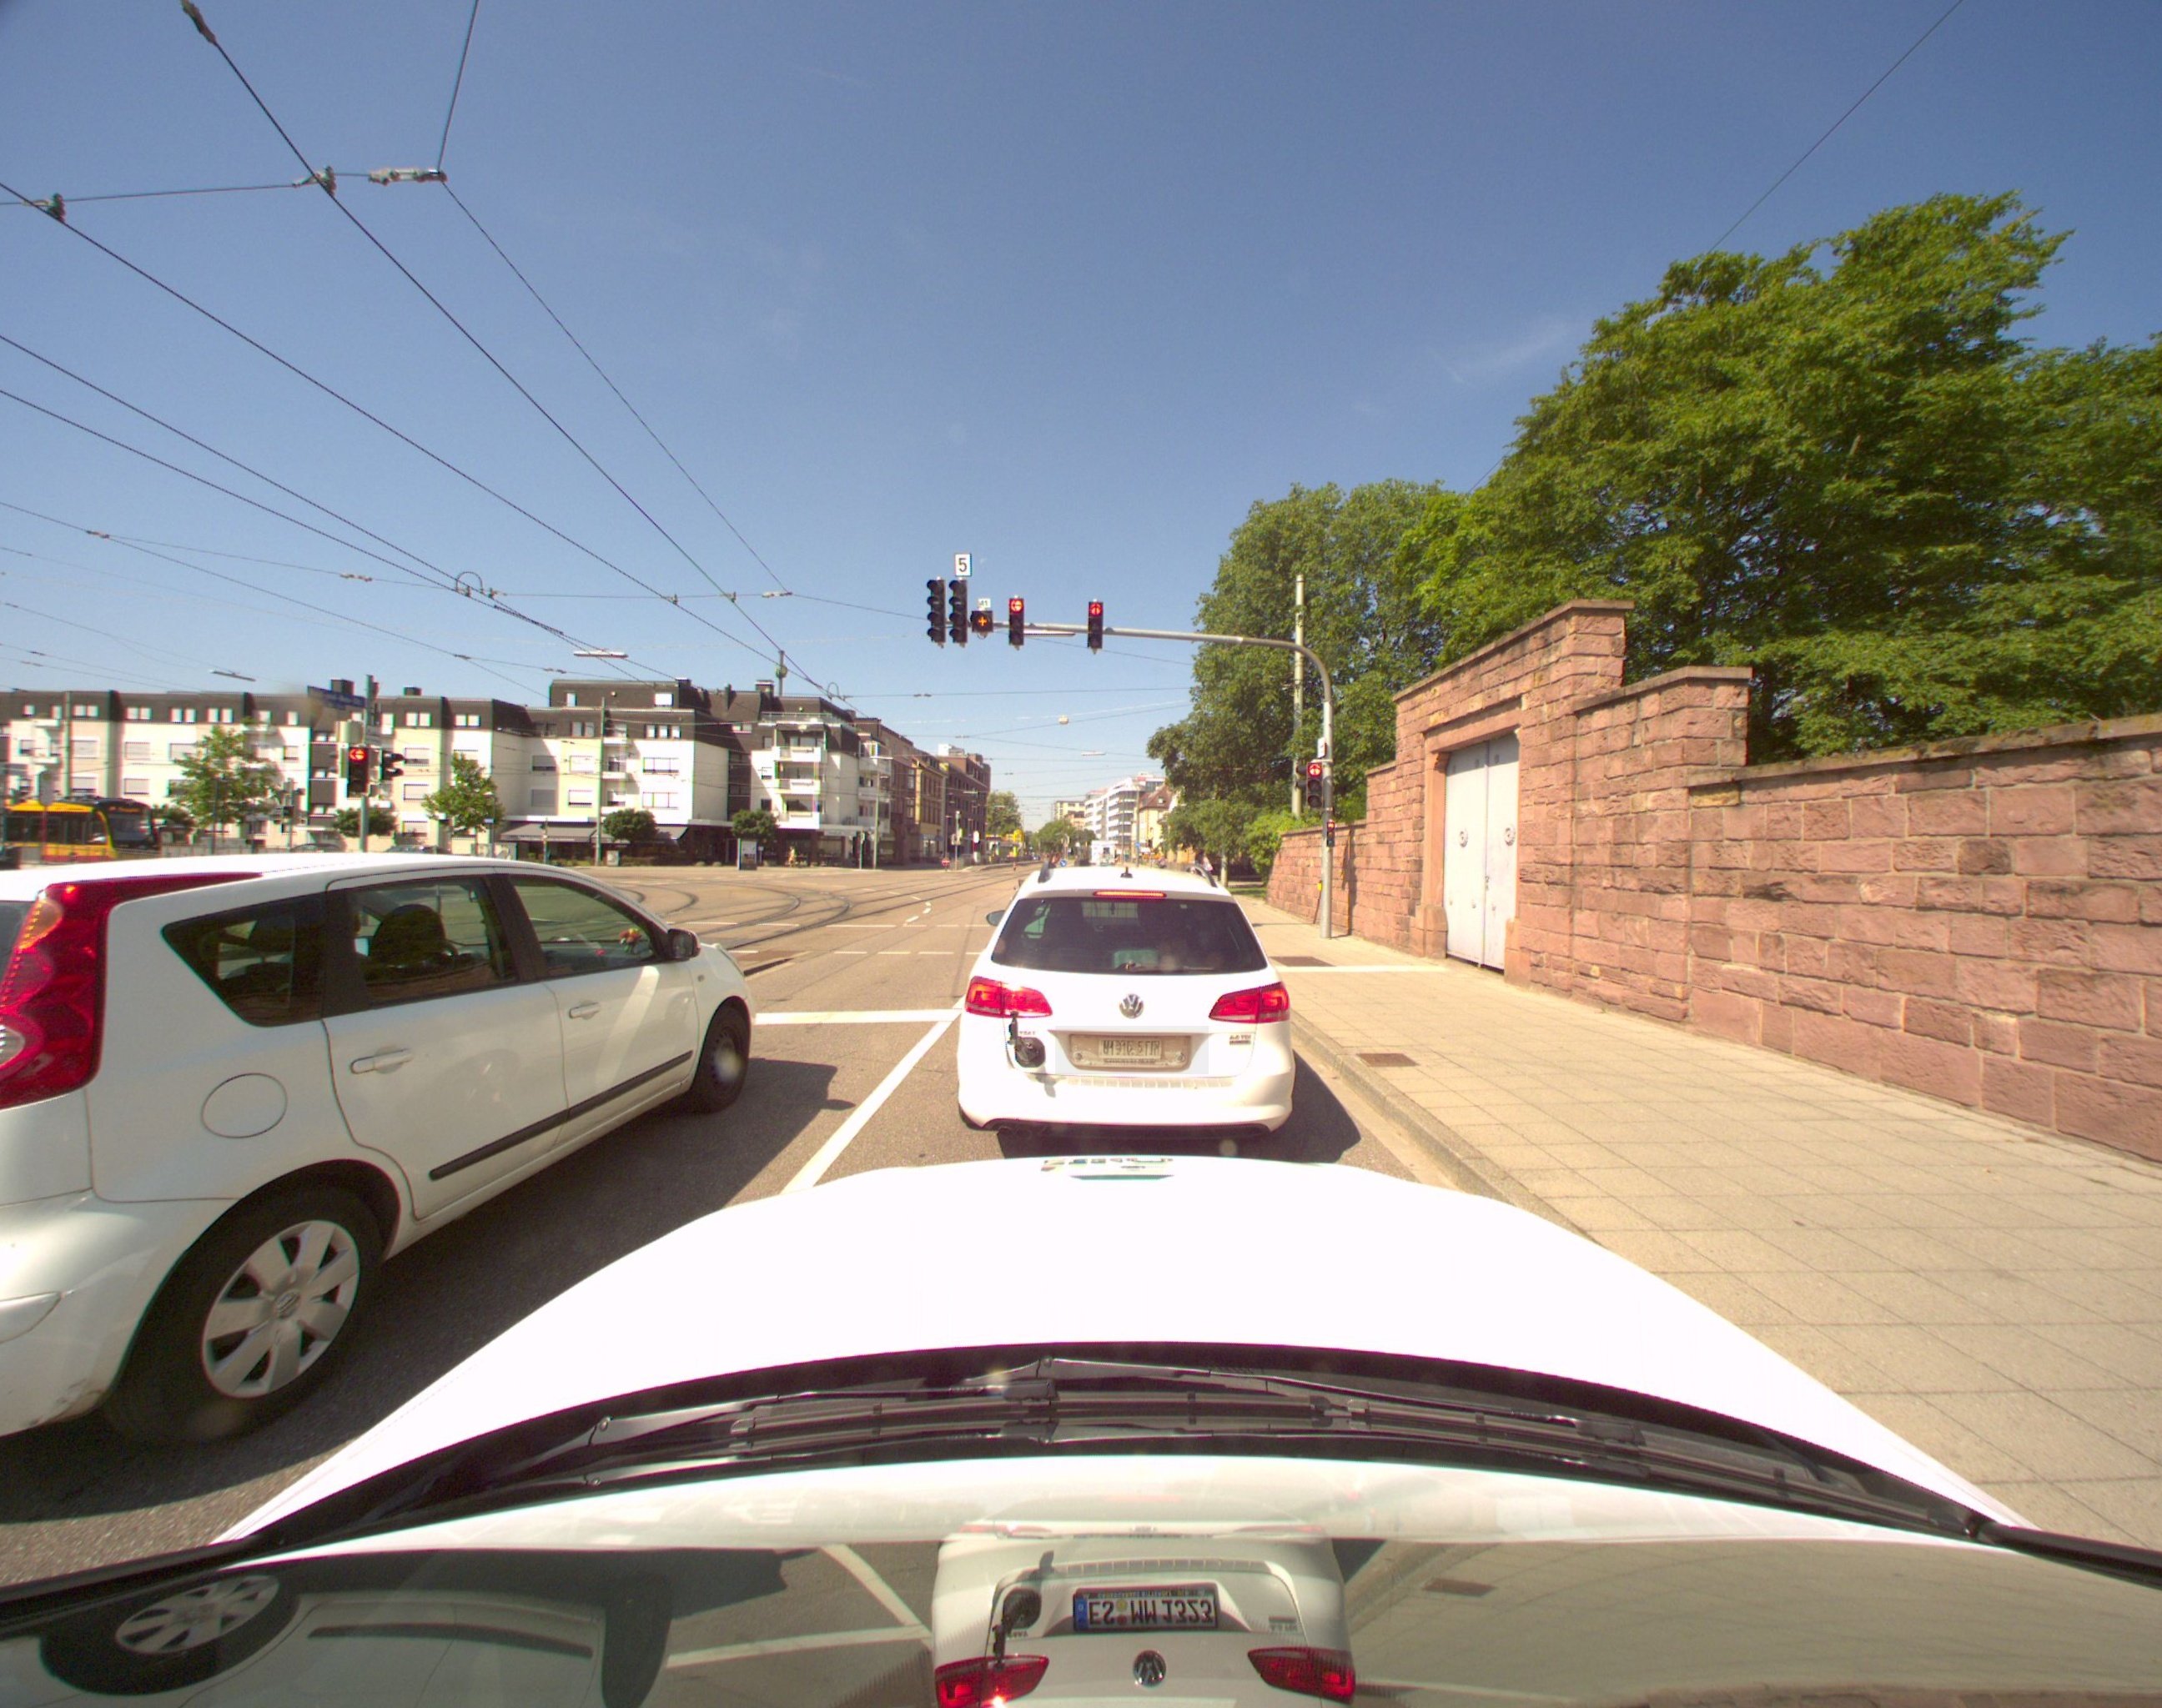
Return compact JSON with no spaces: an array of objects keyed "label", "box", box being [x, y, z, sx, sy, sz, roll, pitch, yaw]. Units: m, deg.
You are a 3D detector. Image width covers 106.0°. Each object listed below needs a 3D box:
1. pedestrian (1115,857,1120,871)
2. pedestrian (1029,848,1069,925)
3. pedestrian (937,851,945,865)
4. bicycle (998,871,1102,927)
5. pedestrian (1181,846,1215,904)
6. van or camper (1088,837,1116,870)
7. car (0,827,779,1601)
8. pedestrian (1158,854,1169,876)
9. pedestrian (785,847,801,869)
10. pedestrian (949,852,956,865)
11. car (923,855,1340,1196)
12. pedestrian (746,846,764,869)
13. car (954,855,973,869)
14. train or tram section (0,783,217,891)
[{"label":"pedestrian","box":[6.192,1.648,137.835,0.687,2.325,1.233,-1,-1,3]},{"label":"pedestrian","box":[-0.678,0.659,17.044,0.746,1.571,0.673,-1,0,-11]},{"label":"pedestrian","box":[-17.892,0.514,103.850,0.860,1.743,0.973,-1,-1,-4]},{"label":"bicycle","box":[-0.631,0.902,16.544,2.020,1.090,0.707,1,0,-12]},{"label":"pedestrian","box":[3.403,0.612,23.651,0.947,1.651,0.977,-1,-1,8]},{"label":"van or camper","box":[2.166,0.022,80.948,2.556,3.093,5.707,-1,-1,3]},{"label":"car","box":[-2.905,0.715,3.554,1.636,1.566,3.805,-1,1,1]},{"label":"pedestrian","box":[6.595,0.848,65.040,0.856,1.743,0.977,-1,-1,8]},{"label":"pedestrian","box":[-23.423,0.339,66.234,0.853,1.743,0.981,-2,-2,37]},{"label":"pedestrian","box":[-17.364,0.615,109.844,0.860,1.743,0.973,-1,-1,-4]},{"label":"car","box":[0.275,0.749,5.552,1.801,1.448,4.001,1,0,1]},{"label":"pedestrian","box":[-24.948,0.292,62.313,0.853,1.743,0.981,-2,-2,31]},{"label":"car","box":[-13.655,0.929,94.701,1.736,1.618,3.997,-1,-1,-1]},{"label":"train or tram section","box":[-54.715,-0.685,41.519,16.149,5.150,4.735,-1,-1,0]}]
